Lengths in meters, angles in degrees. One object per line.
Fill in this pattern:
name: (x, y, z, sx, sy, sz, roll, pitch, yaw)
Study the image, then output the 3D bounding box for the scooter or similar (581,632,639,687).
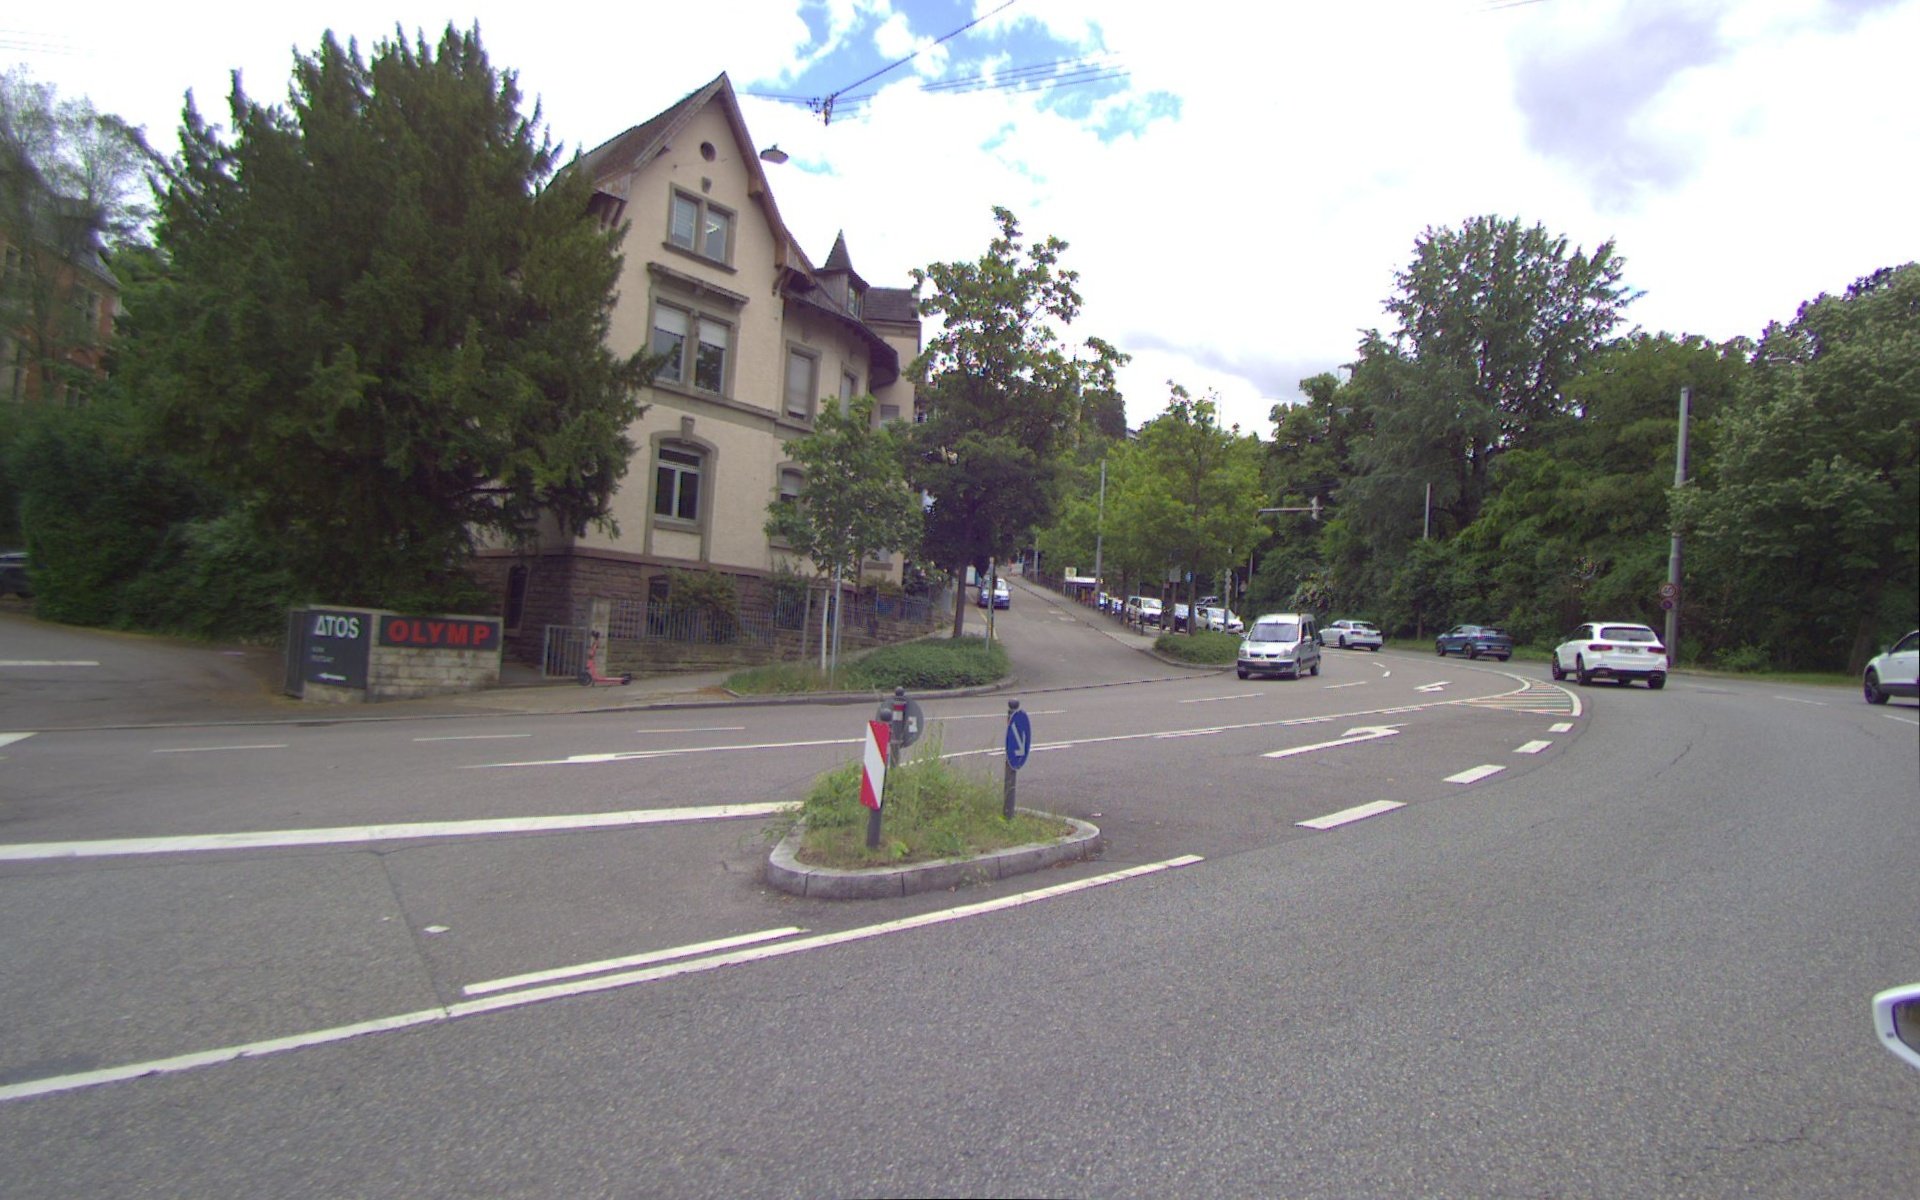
scooter or similar: (-7.975, 1.348, 22.876, 1.191, 1.175, 0.549, -2, 1, -24)

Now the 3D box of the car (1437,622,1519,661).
car: (23.862, 1.895, 46.447, 1.830, 1.653, 3.960, 1, -1, 2)

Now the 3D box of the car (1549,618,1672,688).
car: (17.259, 1.354, 26.885, 1.846, 1.674, 4.341, -1, -1, 21)

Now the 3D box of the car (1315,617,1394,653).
car: (20.161, 1.752, 51.570, 2.211, 1.539, 4.306, 3, 0, -1)

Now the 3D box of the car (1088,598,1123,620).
car: (11.817, 0.693, 81.661, 1.962, 1.540, 3.989, 5, 0, -3)

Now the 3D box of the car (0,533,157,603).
car: (-28.103, -0.963, 31.628, 3.942, 2.040, 1.989, 1, 0, -22)

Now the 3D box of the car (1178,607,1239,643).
car: (13.308, 1.287, 54.107, 1.865, 1.815, 4.757, 1, 0, -3)

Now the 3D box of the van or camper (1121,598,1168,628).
van or camper: (13.163, 0.861, 71.867, 1.962, 1.920, 5.454, 4, 0, -3)

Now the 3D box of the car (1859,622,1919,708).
car: (19.037, 1.231, 19.149, 1.836, 1.577, 3.890, 1, 0, 26)

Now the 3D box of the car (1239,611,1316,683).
car: (8.934, 1.248, 28.521, 1.879, 1.855, 4.041, 1, 0, 15)

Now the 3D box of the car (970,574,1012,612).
car: (1.636, -0.411, 52.835, 1.961, 1.595, 3.999, 6, 4, 1)

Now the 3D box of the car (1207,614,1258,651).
car: (13.420, 1.567, 49.630, 1.863, 1.676, 4.378, 1, 0, 8)
